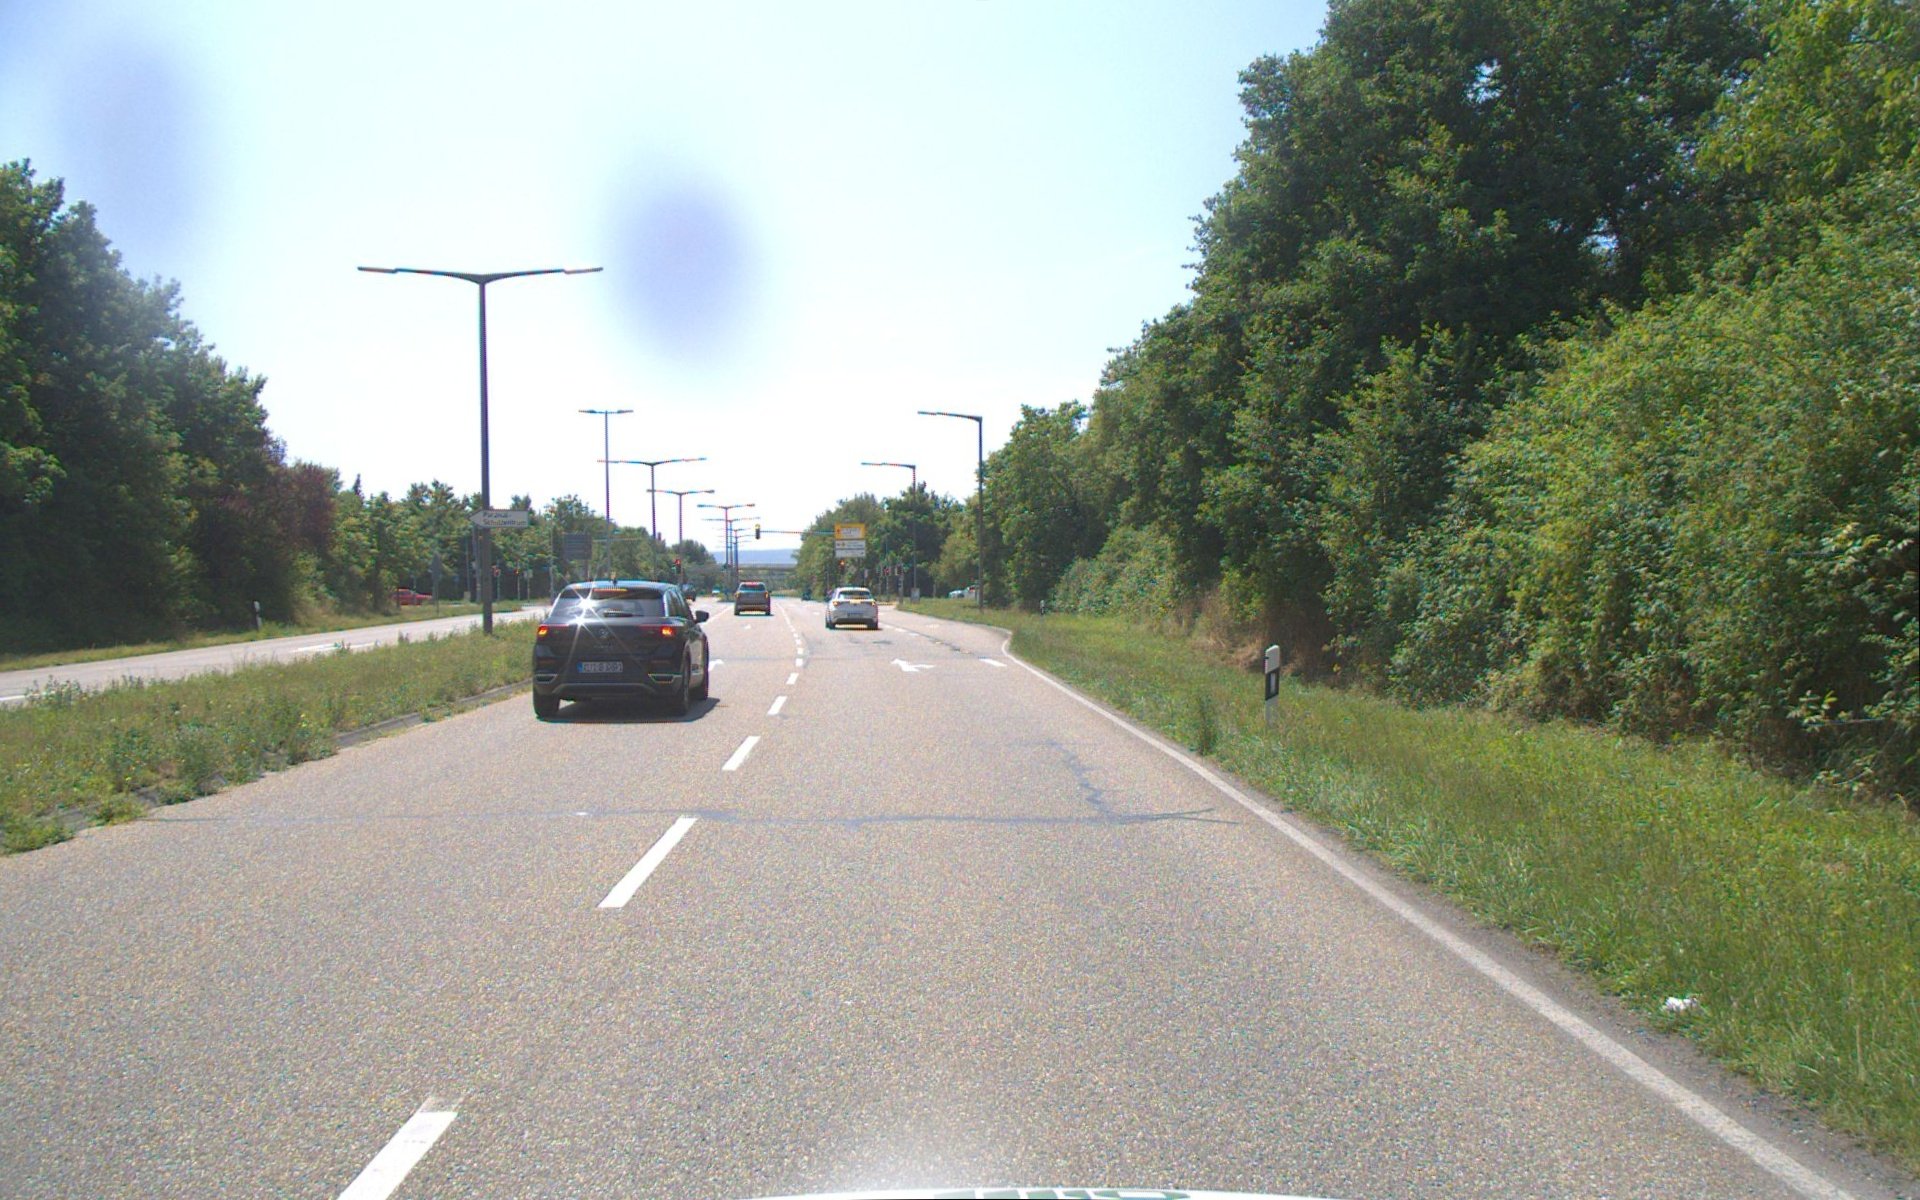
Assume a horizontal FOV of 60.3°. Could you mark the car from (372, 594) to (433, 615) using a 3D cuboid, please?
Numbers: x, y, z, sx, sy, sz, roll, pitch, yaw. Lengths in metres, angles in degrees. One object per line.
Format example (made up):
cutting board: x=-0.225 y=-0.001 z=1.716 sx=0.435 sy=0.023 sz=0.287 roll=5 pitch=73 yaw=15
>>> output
car: x=-44.731 y=0.375 z=132.745 sx=4.447 sy=1.669 sz=1.970 roll=0 pitch=0 yaw=-15

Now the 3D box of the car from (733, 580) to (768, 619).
car: x=-11.012 y=-0.044 z=87.043 sx=1.722 sy=1.962 sz=3.995 roll=0 pitch=0 yaw=-6

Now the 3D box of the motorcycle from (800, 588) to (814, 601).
motorcycle: x=-16.322 y=-0.596 z=176.438 sx=1.397 sy=1.303 sz=2.565 roll=-2 pitch=0 yaw=-7

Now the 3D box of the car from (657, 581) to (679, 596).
car: x=-29.518 y=-1.180 z=167.304 sx=1.792 sy=1.545 sz=3.997 roll=0 pitch=0 yaw=-4

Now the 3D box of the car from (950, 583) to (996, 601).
car: x=1.237 y=-0.769 z=158.186 sx=4.033 sy=1.552 sz=1.931 roll=-1 pitch=1 yaw=-15

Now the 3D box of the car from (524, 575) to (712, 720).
car: x=-4.078 y=0.514 z=20.311 sx=1.721 sy=1.583 sz=3.997 roll=0 pitch=0 yaw=-4

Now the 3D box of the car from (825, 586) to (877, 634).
car: x=-3.868 y=0.335 z=58.779 sx=1.761 sy=1.611 sz=3.997 roll=-1 pitch=0 yaw=-3
